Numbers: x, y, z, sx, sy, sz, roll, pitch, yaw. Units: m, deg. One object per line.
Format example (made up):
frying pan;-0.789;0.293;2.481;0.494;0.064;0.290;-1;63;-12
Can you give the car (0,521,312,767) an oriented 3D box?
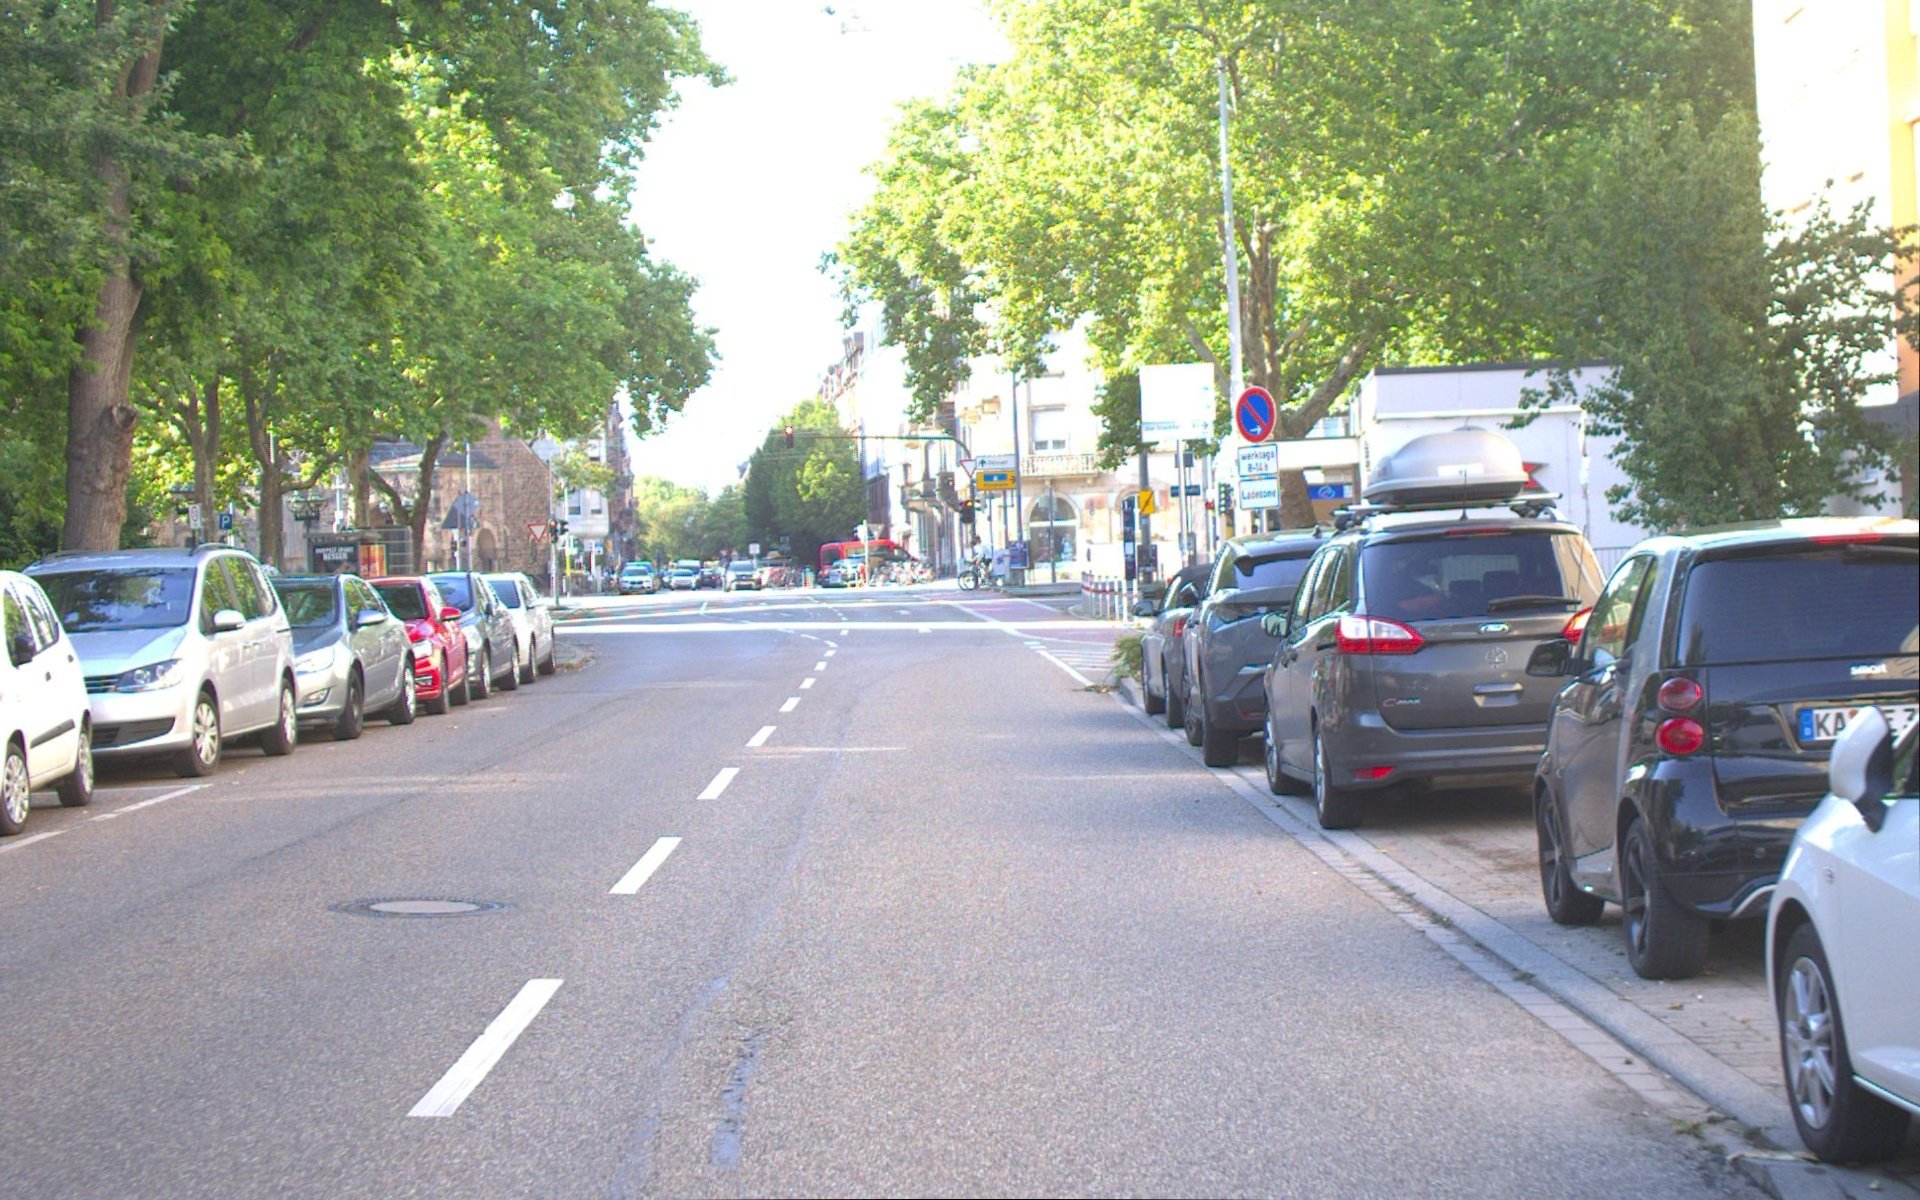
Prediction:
car;-6.282;0.306;25.881;1.916;1.672;4.974;0;0;-1

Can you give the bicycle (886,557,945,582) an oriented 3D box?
bicycle;-2.119;-1.460;163.883;2.802;1.199;0.510;0;0;-7

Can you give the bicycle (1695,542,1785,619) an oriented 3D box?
bicycle;10.168;-0.265;44.882;0.636;0.922;2.230;0;2;-1

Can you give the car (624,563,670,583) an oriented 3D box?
car;-18.076;-1.560;198.583;1.595;1.140;3.381;0;0;14

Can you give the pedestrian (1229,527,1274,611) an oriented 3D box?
pedestrian;7.229;-0.762;85.309;0.827;2.007;1.153;-5;0;-1

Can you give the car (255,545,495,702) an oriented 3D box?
car;-6.068;0.235;36.070;1.870;1.553;4.000;0;0;-1

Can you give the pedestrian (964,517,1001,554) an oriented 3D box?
pedestrian;0.778;-2.245;119.347;1.050;1.273;0.791;0;0;24

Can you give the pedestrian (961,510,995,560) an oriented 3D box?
pedestrian;0.626;-2.217;117.877;0.993;1.702;0.627;0;0;29

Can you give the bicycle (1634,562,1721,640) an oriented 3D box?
bicycle;9.332;0.004;44.795;0.636;0.922;2.230;0;2;-1

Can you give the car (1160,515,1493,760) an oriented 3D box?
car;2.621;0.263;25.629;1.927;1.653;4.677;0;0;-1

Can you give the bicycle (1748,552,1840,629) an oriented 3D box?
bicycle;10.893;-0.132;44.969;0.636;0.922;2.230;0;2;-1

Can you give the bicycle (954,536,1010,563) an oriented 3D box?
bicycle;0.769;-1.748;119.340;1.784;0.892;0.749;-1;1;25

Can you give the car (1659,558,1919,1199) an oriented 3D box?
car;2.775;0.583;6.884;1.679;1.411;4.724;-3;0;-1

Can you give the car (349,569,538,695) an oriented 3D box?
car;-6.168;0.369;41.447;1.703;1.435;4.129;0;0;-1

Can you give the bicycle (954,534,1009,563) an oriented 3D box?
bicycle;0.721;-1.763;117.835;1.786;0.978;0.656;0;1;29

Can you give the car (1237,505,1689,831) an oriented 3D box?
car;2.783;0.317;19.999;1.897;1.645;4.343;-1;1;-1

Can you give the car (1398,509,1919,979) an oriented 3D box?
car;2.778;0.463;13.098;1.605;1.489;4.042;-1;0;-1

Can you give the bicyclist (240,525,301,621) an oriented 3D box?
bicyclist;-14.462;-0.556;72.142;0.976;2.007;0.796;0;0;34

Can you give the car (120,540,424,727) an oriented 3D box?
car;-6.088;0.287;30.924;1.870;1.553;4.497;0;0;-1

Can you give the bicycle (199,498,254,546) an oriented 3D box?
bicycle;-18.499;-1.954;86.791;0.718;1.142;3.292;0;0;-1

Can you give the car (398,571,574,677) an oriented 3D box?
car;-6.334;0.311;46.383;1.769;1.348;4.711;0;0;-1

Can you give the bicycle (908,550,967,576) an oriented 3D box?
bicycle;-1.067;-1.774;165.291;2.802;1.199;0.517;0;0;-10

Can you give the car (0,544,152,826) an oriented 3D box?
car;-6.244;0.469;20.599;1.870;1.553;4.101;0;0;-1

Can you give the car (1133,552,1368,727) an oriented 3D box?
car;2.553;0.340;31.035;1.740;1.468;4.000;0;0;-1
